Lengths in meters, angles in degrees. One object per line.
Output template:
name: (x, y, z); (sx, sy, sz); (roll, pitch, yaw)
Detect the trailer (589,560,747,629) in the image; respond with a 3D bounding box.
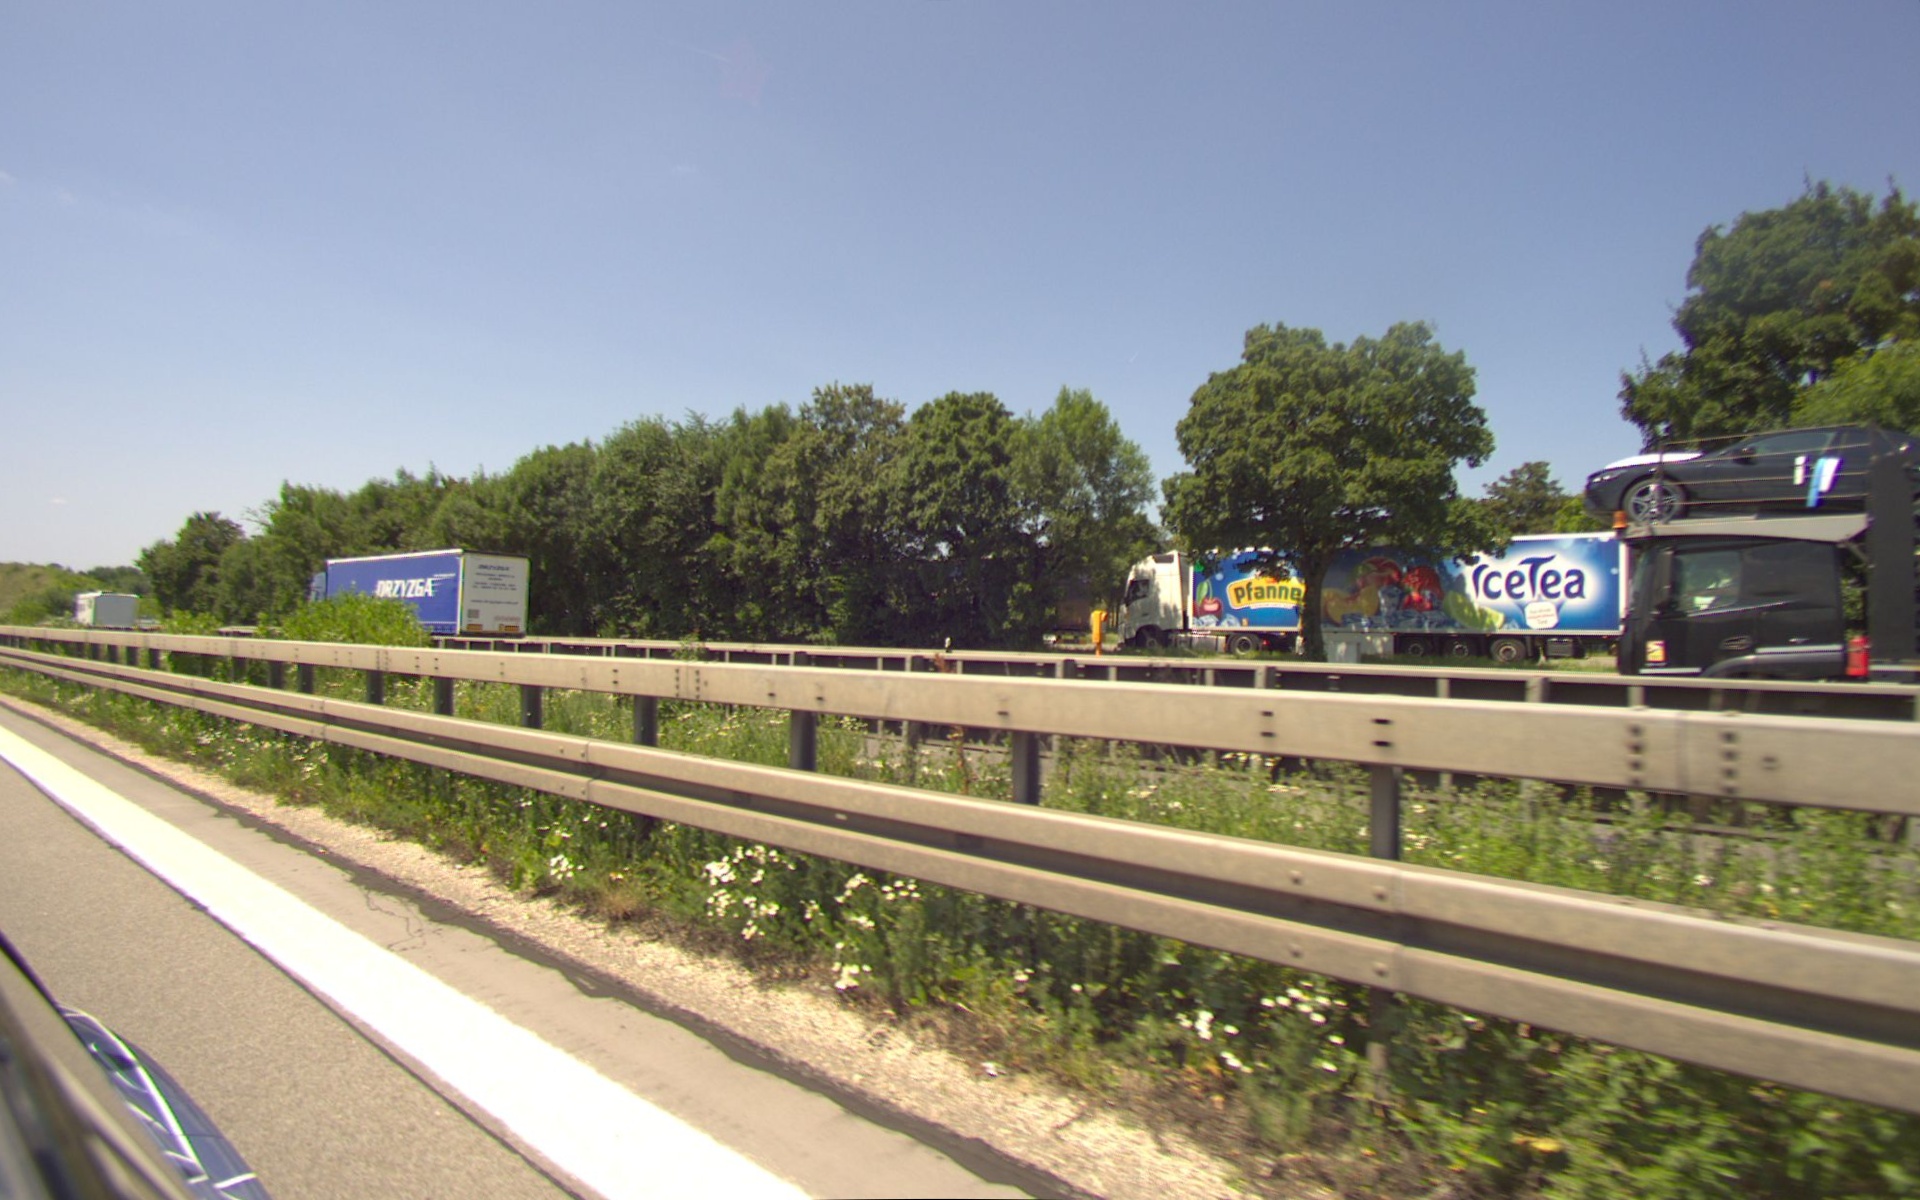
trailer: (-17.406, -0.295, 59.428); (13.176, 3.724, 1.973); (0, 0, 41)

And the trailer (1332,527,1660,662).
trailer: (16.404, -0.146, 31.516); (8.705, 3.689, 2.520); (0, 0, 40)

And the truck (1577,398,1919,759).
truck: (12.147, -0.249, 10.839); (9.148, 3.848, 2.648); (0, 0, 41)

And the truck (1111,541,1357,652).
truck: (9.806, -0.114, 36.969); (8.389, 3.661, 2.529); (0, 0, 40)

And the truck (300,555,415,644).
truck: (-27.563, -0.028, 46.221); (5.690, 3.773, 2.819); (0, 0, 41)

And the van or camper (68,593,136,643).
van or camper: (-54.886, 1.158, 64.675); (6.950, 2.991, 2.246); (-1, -3, 41)

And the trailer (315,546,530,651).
trailer: (-22.758, -0.041, 42.120); (14.522, 3.762, 2.813); (0, 0, 41)
